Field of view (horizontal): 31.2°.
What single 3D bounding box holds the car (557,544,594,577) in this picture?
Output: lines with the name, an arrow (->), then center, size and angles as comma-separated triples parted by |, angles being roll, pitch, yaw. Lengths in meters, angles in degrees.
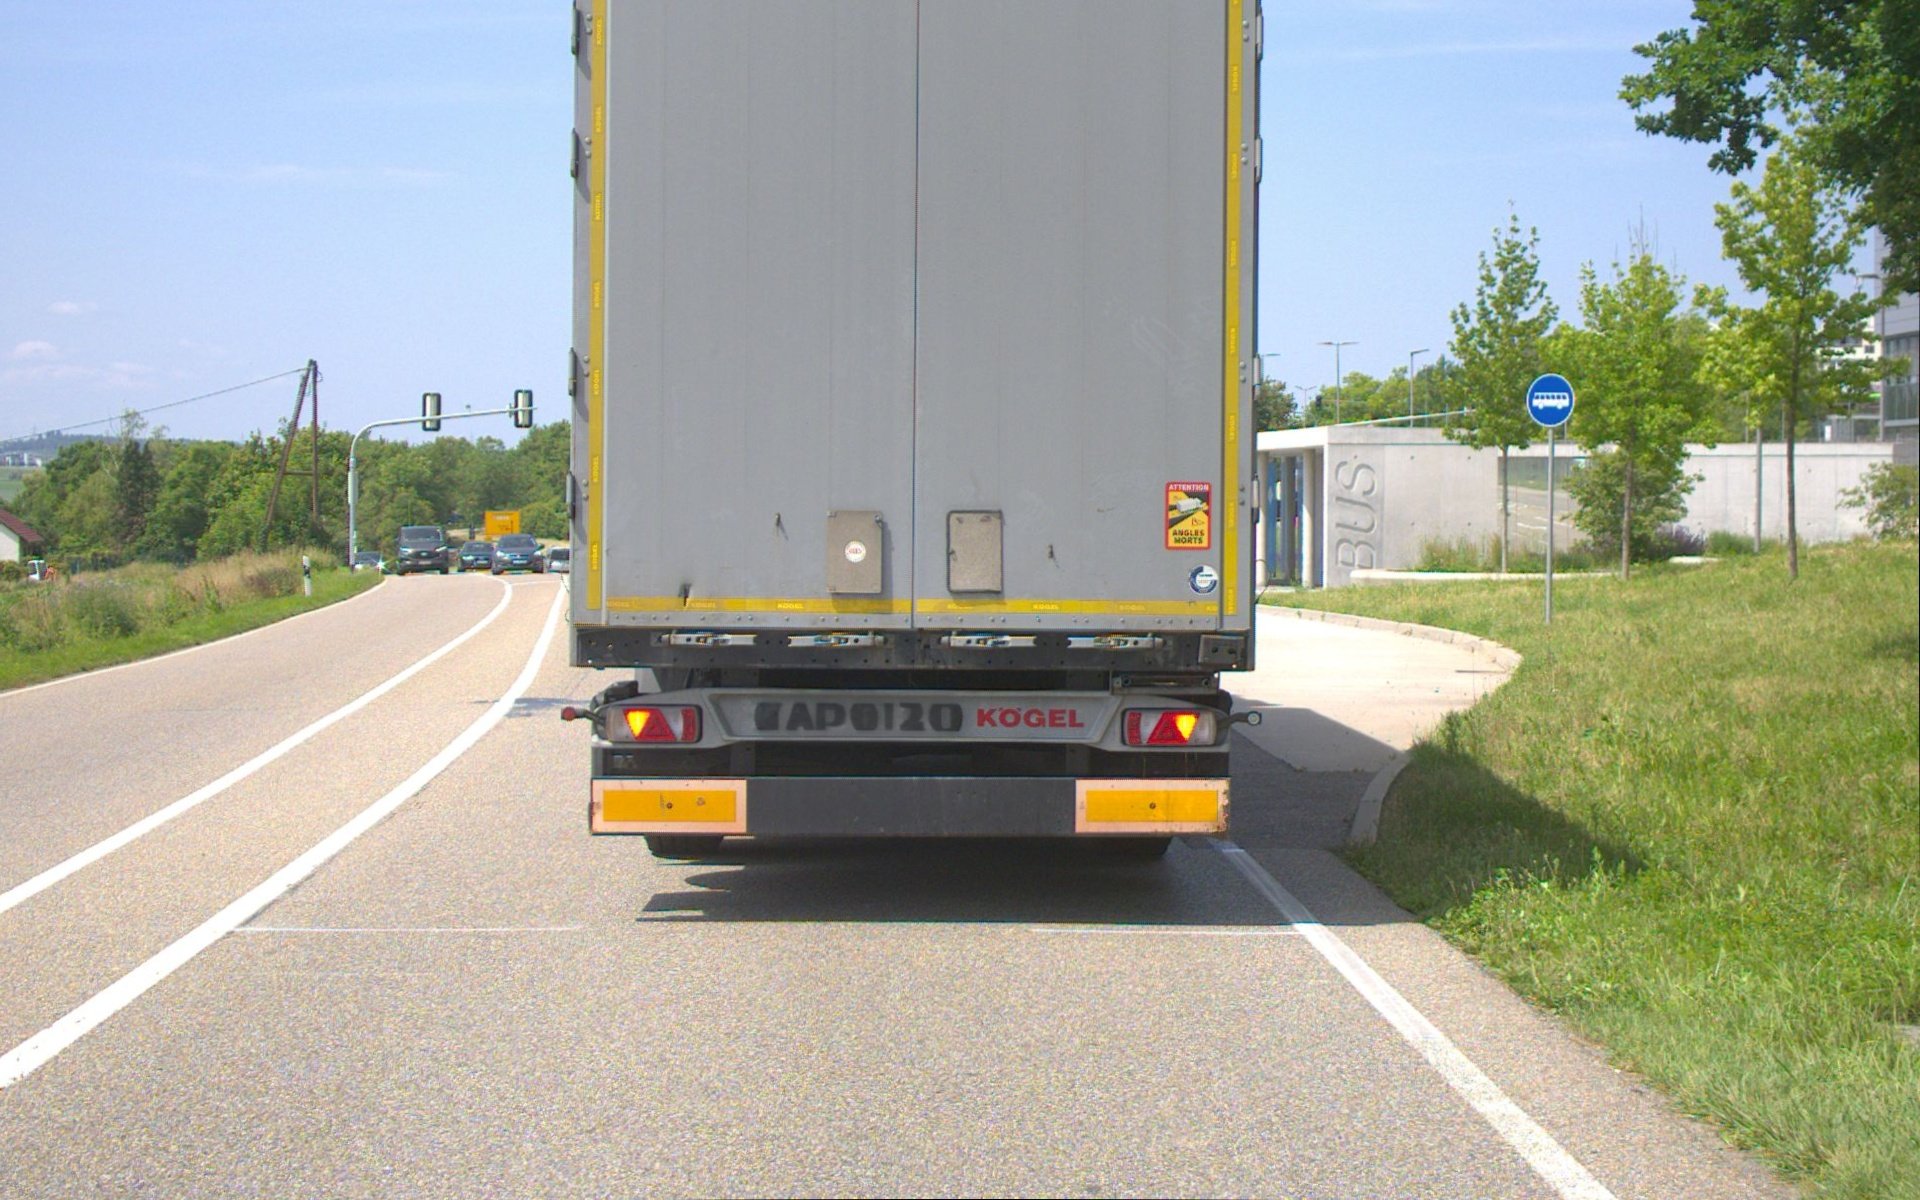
car -> -21.986, -2.286, 196.749 | 1.892, 1.770, 4.387 | -2, 1, -4

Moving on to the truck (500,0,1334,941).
truck -> -0.304, -1.103, 16.600 | 2.907, 4.394, 8.861 | 1, 1, -2

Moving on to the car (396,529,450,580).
car -> -21.742, -1.853, 139.272 | 1.993, 1.971, 5.280 | -2, 1, -7

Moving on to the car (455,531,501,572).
car -> -22.702, -2.315, 162.134 | 1.993, 1.809, 4.297 | -2, 2, -7

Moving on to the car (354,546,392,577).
car -> -35.077, -2.313, 205.421 | 1.993, 1.781, 4.001 | -2, 1, -7

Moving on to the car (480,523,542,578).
car -> -16.648, -1.854, 127.638 | 1.993, 1.943, 4.503 | -2, 1, -5

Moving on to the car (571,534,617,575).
car -> -18.778, -2.349, 176.436 | 2.171, 2.007, 4.527 | -2, 1, -4
